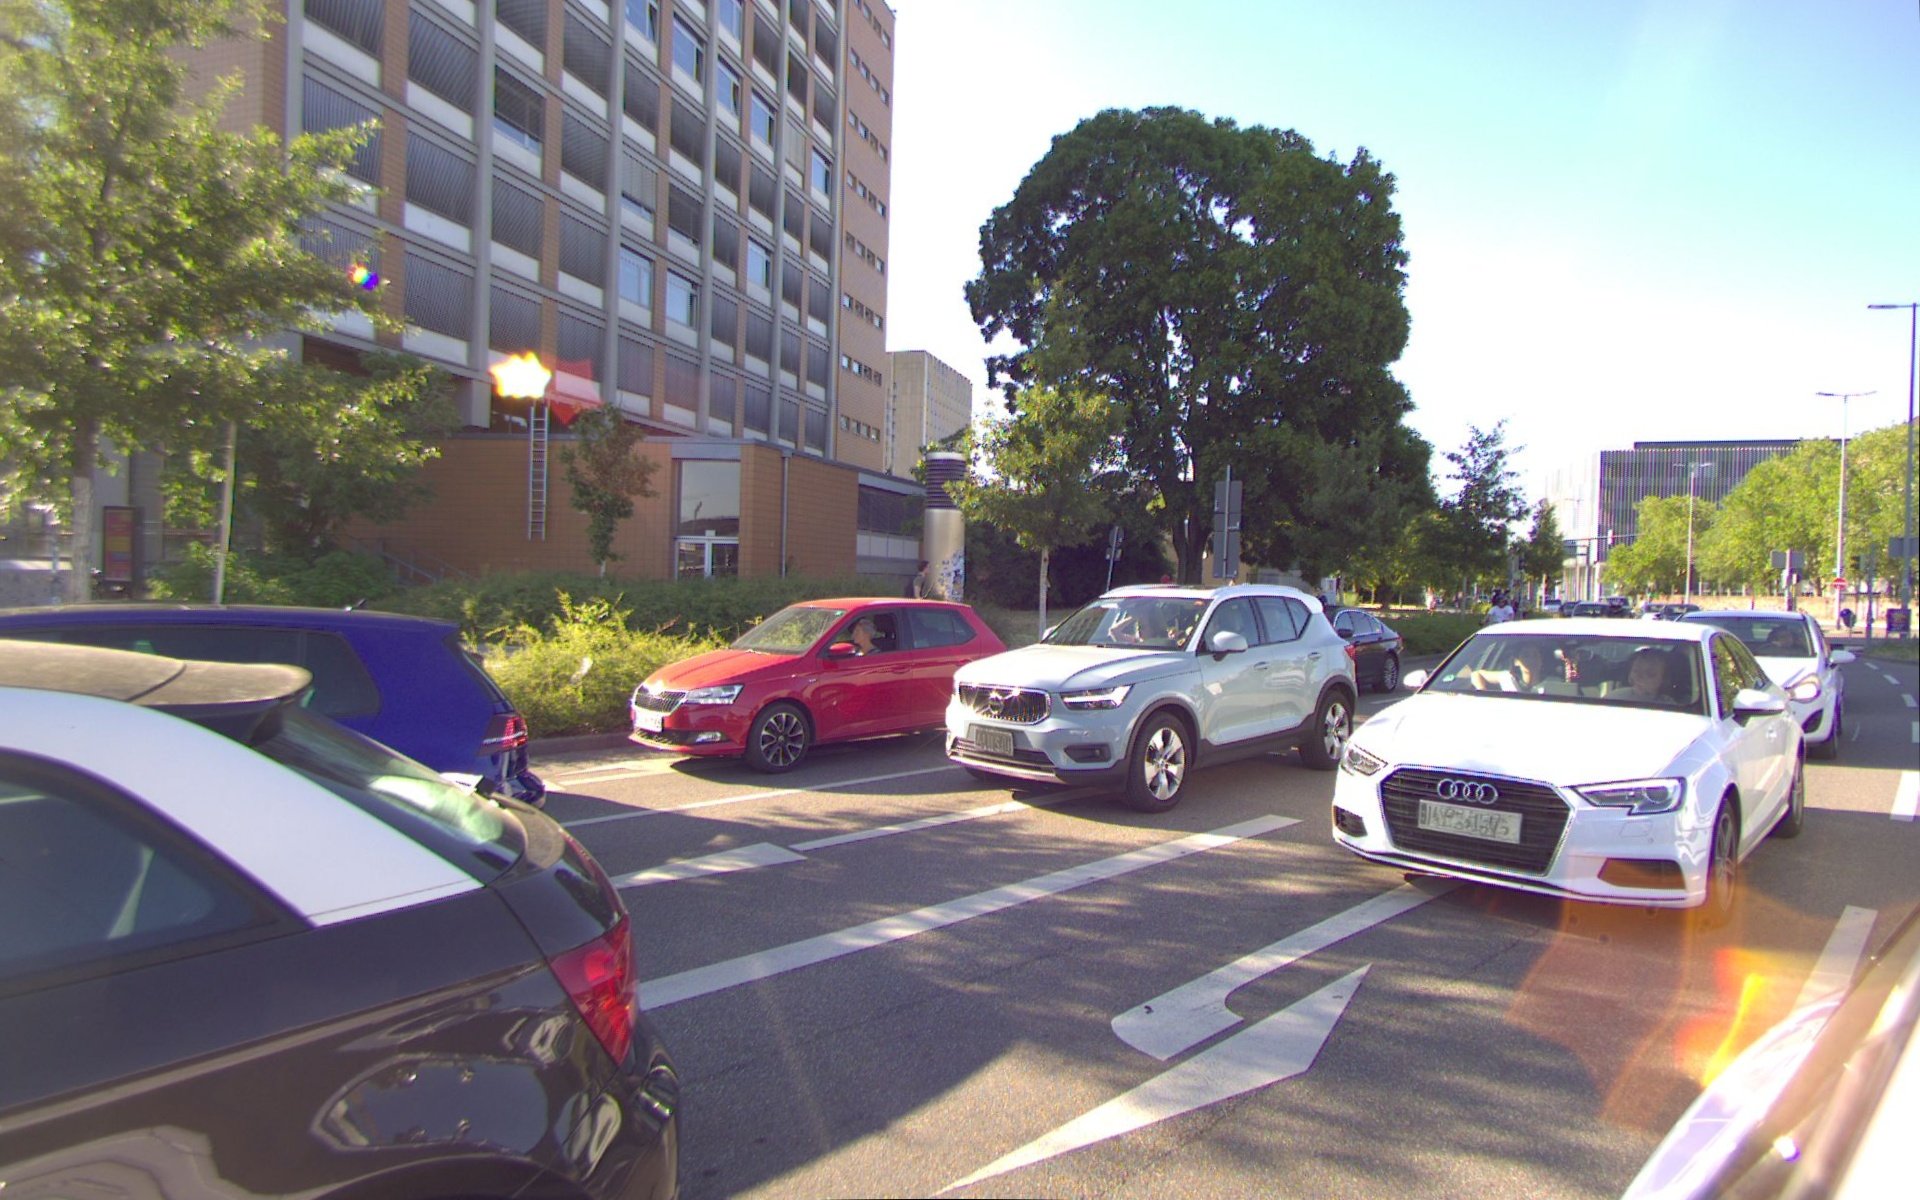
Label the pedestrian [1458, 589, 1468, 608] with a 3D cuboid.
[{"bbox_3d":[53.708,-0.136,108.069,0.828,2.039,1.061,0,0,19],"label":"pedestrian"}]

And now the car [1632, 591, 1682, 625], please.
[{"bbox_3d":[38.614,0.409,56.158,1.730,1.727,3.962,2,1,27],"label":"car"}]

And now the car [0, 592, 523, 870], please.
[{"bbox_3d":[-5.228,0.676,6.137,4.434,1.422,1.725,-1,1,-42],"label":"car"}]

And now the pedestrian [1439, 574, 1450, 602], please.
[{"bbox_3d":[29.232,-0.720,61.086,0.543,1.627,0.598,0,0,30],"label":"pedestrian"}]

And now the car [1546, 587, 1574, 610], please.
[{"bbox_3d":[47.314,-0.109,79.839,1.731,1.727,3.959,2,1,29],"label":"car"}]

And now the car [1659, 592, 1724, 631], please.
[{"bbox_3d":[31.617,0.459,43.842,1.731,1.564,3.960,2,1,29],"label":"car"}]

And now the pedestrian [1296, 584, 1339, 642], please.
[{"bbox_3d":[10.958,0.380,30.991,1.005,1.742,0.873,0,0,39],"label":"pedestrian"}]

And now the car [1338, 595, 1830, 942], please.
[{"bbox_3d":[3.948,0.696,6.128,3.769,1.422,1.625,-1,0,-43],"label":"car"}]

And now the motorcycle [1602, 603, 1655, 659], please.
[{"bbox_3d":[16.906,0.752,25.568,0.716,1.321,2.199,0,0,44],"label":"motorcycle"}]

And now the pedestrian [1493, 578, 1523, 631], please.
[{"bbox_3d":[21.220,0.160,39.174,0.891,2.039,0.870,0,0,39],"label":"pedestrian"}]

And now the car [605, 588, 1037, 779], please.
[{"bbox_3d":[-1.190,0.635,9.853,3.974,1.478,1.625,-1,0,-43],"label":"car"}]

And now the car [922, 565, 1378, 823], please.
[{"bbox_3d":[1.776,0.575,8.468,4.153,1.641,1.625,-1,0,-43],"label":"car"}]

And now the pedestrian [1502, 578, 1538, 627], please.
[{"bbox_3d":[23.729,0.112,42.865,1.137,2.039,1.268,0,0,39],"label":"pedestrian"}]

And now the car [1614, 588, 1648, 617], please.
[{"bbox_3d":[46.006,0.138,69.368,1.867,1.838,3.950,2,1,35],"label":"car"}]

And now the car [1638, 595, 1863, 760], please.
[{"bbox_3d":[8.875,0.695,11.235,1.623,1.478,3.979,0,1,43],"label":"car"}]

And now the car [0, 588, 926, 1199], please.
[{"bbox_3d":[-2.072,0.705,1.250,3.930,1.422,1.626,-1,0,-41],"label":"car"}]

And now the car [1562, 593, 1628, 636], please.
[{"bbox_3d":[24.882,0.516,39.607,1.738,1.544,3.943,2,2,39],"label":"car"}]

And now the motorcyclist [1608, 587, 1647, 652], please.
[{"bbox_3d":[16.748,0.480,25.396,0.709,1.610,0.679,0,0,45],"label":"motorcyclist"}]

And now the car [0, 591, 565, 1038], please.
[{"bbox_3d":[-3.735,0.690,3.750,3.930,1.422,1.626,-1,0,-41],"label":"car"}]

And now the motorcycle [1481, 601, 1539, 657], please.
[{"bbox_3d":[13.856,0.691,25.461,0.716,1.321,2.199,0,0,44],"label":"motorcycle"}]

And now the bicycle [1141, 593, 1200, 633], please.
[{"bbox_3d":[5.669,0.326,27.221,0.657,0.975,2.005,2,2,41],"label":"bicycle"}]

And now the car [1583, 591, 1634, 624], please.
[{"bbox_3d":[33.775,0.365,52.765,1.729,1.564,3.964,2,1,26],"label":"car"}]

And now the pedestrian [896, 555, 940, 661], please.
[{"bbox_3d":[-0.778,0.147,18.612,0.681,1.910,0.465,0,0,-24],"label":"pedestrian"}]

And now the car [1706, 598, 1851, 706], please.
[{"bbox_3d":[13.112,0.717,16.131,1.622,1.478,3.981,0,0,42],"label":"car"}]

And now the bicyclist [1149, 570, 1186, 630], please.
[{"bbox_3d":[5.568,-0.010,27.099,0.615,1.580,0.858,0,0,42],"label":"bicyclist"}]

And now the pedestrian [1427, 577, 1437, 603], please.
[{"bbox_3d":[28.648,-0.590,61.408,0.543,1.549,0.598,0,0,30],"label":"pedestrian"}]

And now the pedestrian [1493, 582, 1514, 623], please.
[{"bbox_3d":[21.507,0.085,40.044,0.593,1.615,0.586,0,0,41],"label":"pedestrian"}]

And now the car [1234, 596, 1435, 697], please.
[{"bbox_3d":[6.458,0.679,17.214,1.750,1.478,4.123,0,1,43],"label":"car"}]

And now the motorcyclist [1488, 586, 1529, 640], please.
[{"bbox_3d":[13.717,0.319,25.311,0.716,1.321,0.724,0,0,45],"label":"motorcyclist"}]
